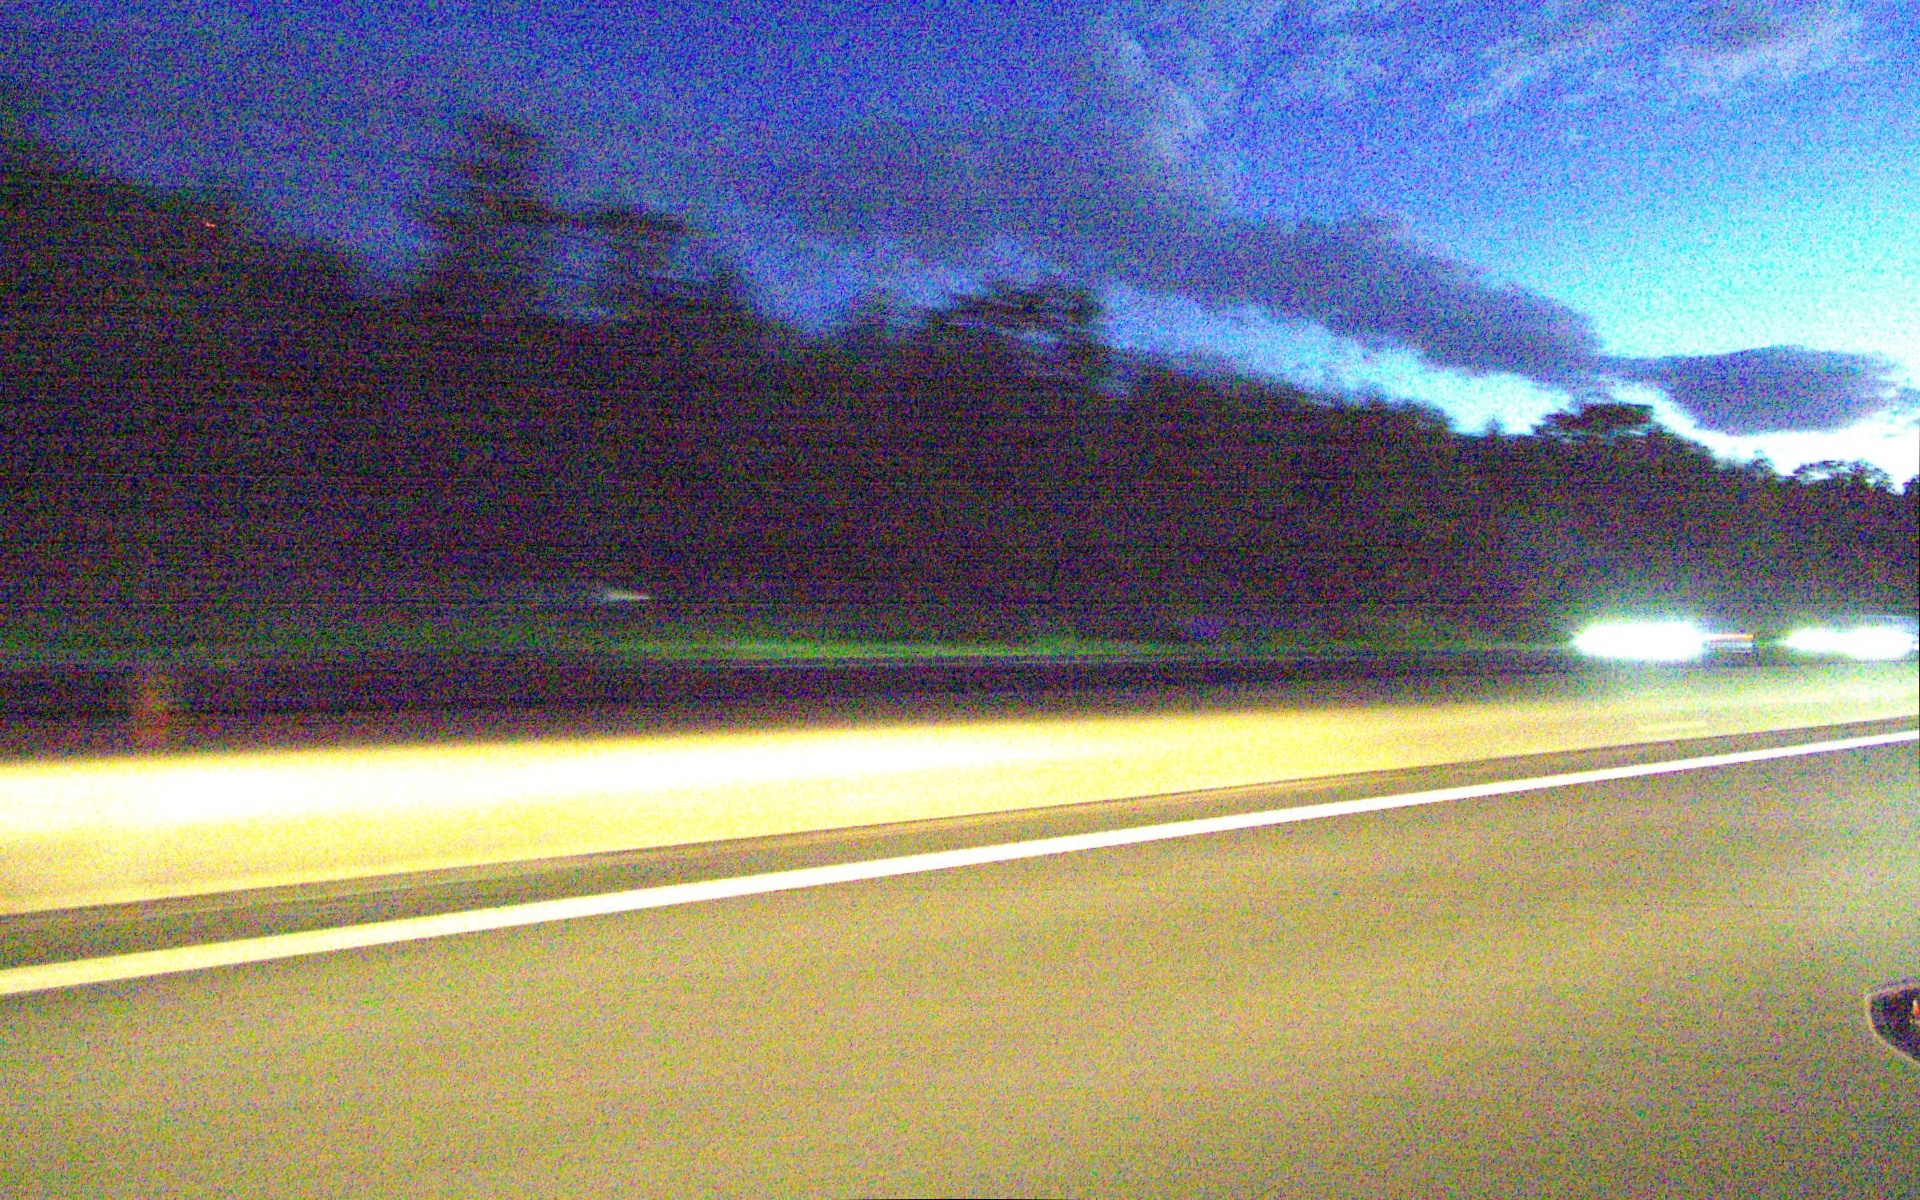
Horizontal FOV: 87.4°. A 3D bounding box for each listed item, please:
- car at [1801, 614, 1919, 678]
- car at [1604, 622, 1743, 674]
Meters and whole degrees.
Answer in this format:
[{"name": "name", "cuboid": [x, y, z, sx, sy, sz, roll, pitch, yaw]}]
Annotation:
[{"name": "car", "cuboid": [26.450, 1.301, 28.922, 4.429, 1.692, 2.001, 2, -1, -30]}, {"name": "car", "cuboid": [22.350, 1.480, 31.425, 4.158, 1.487, 2.001, 2, -1, -30]}]
